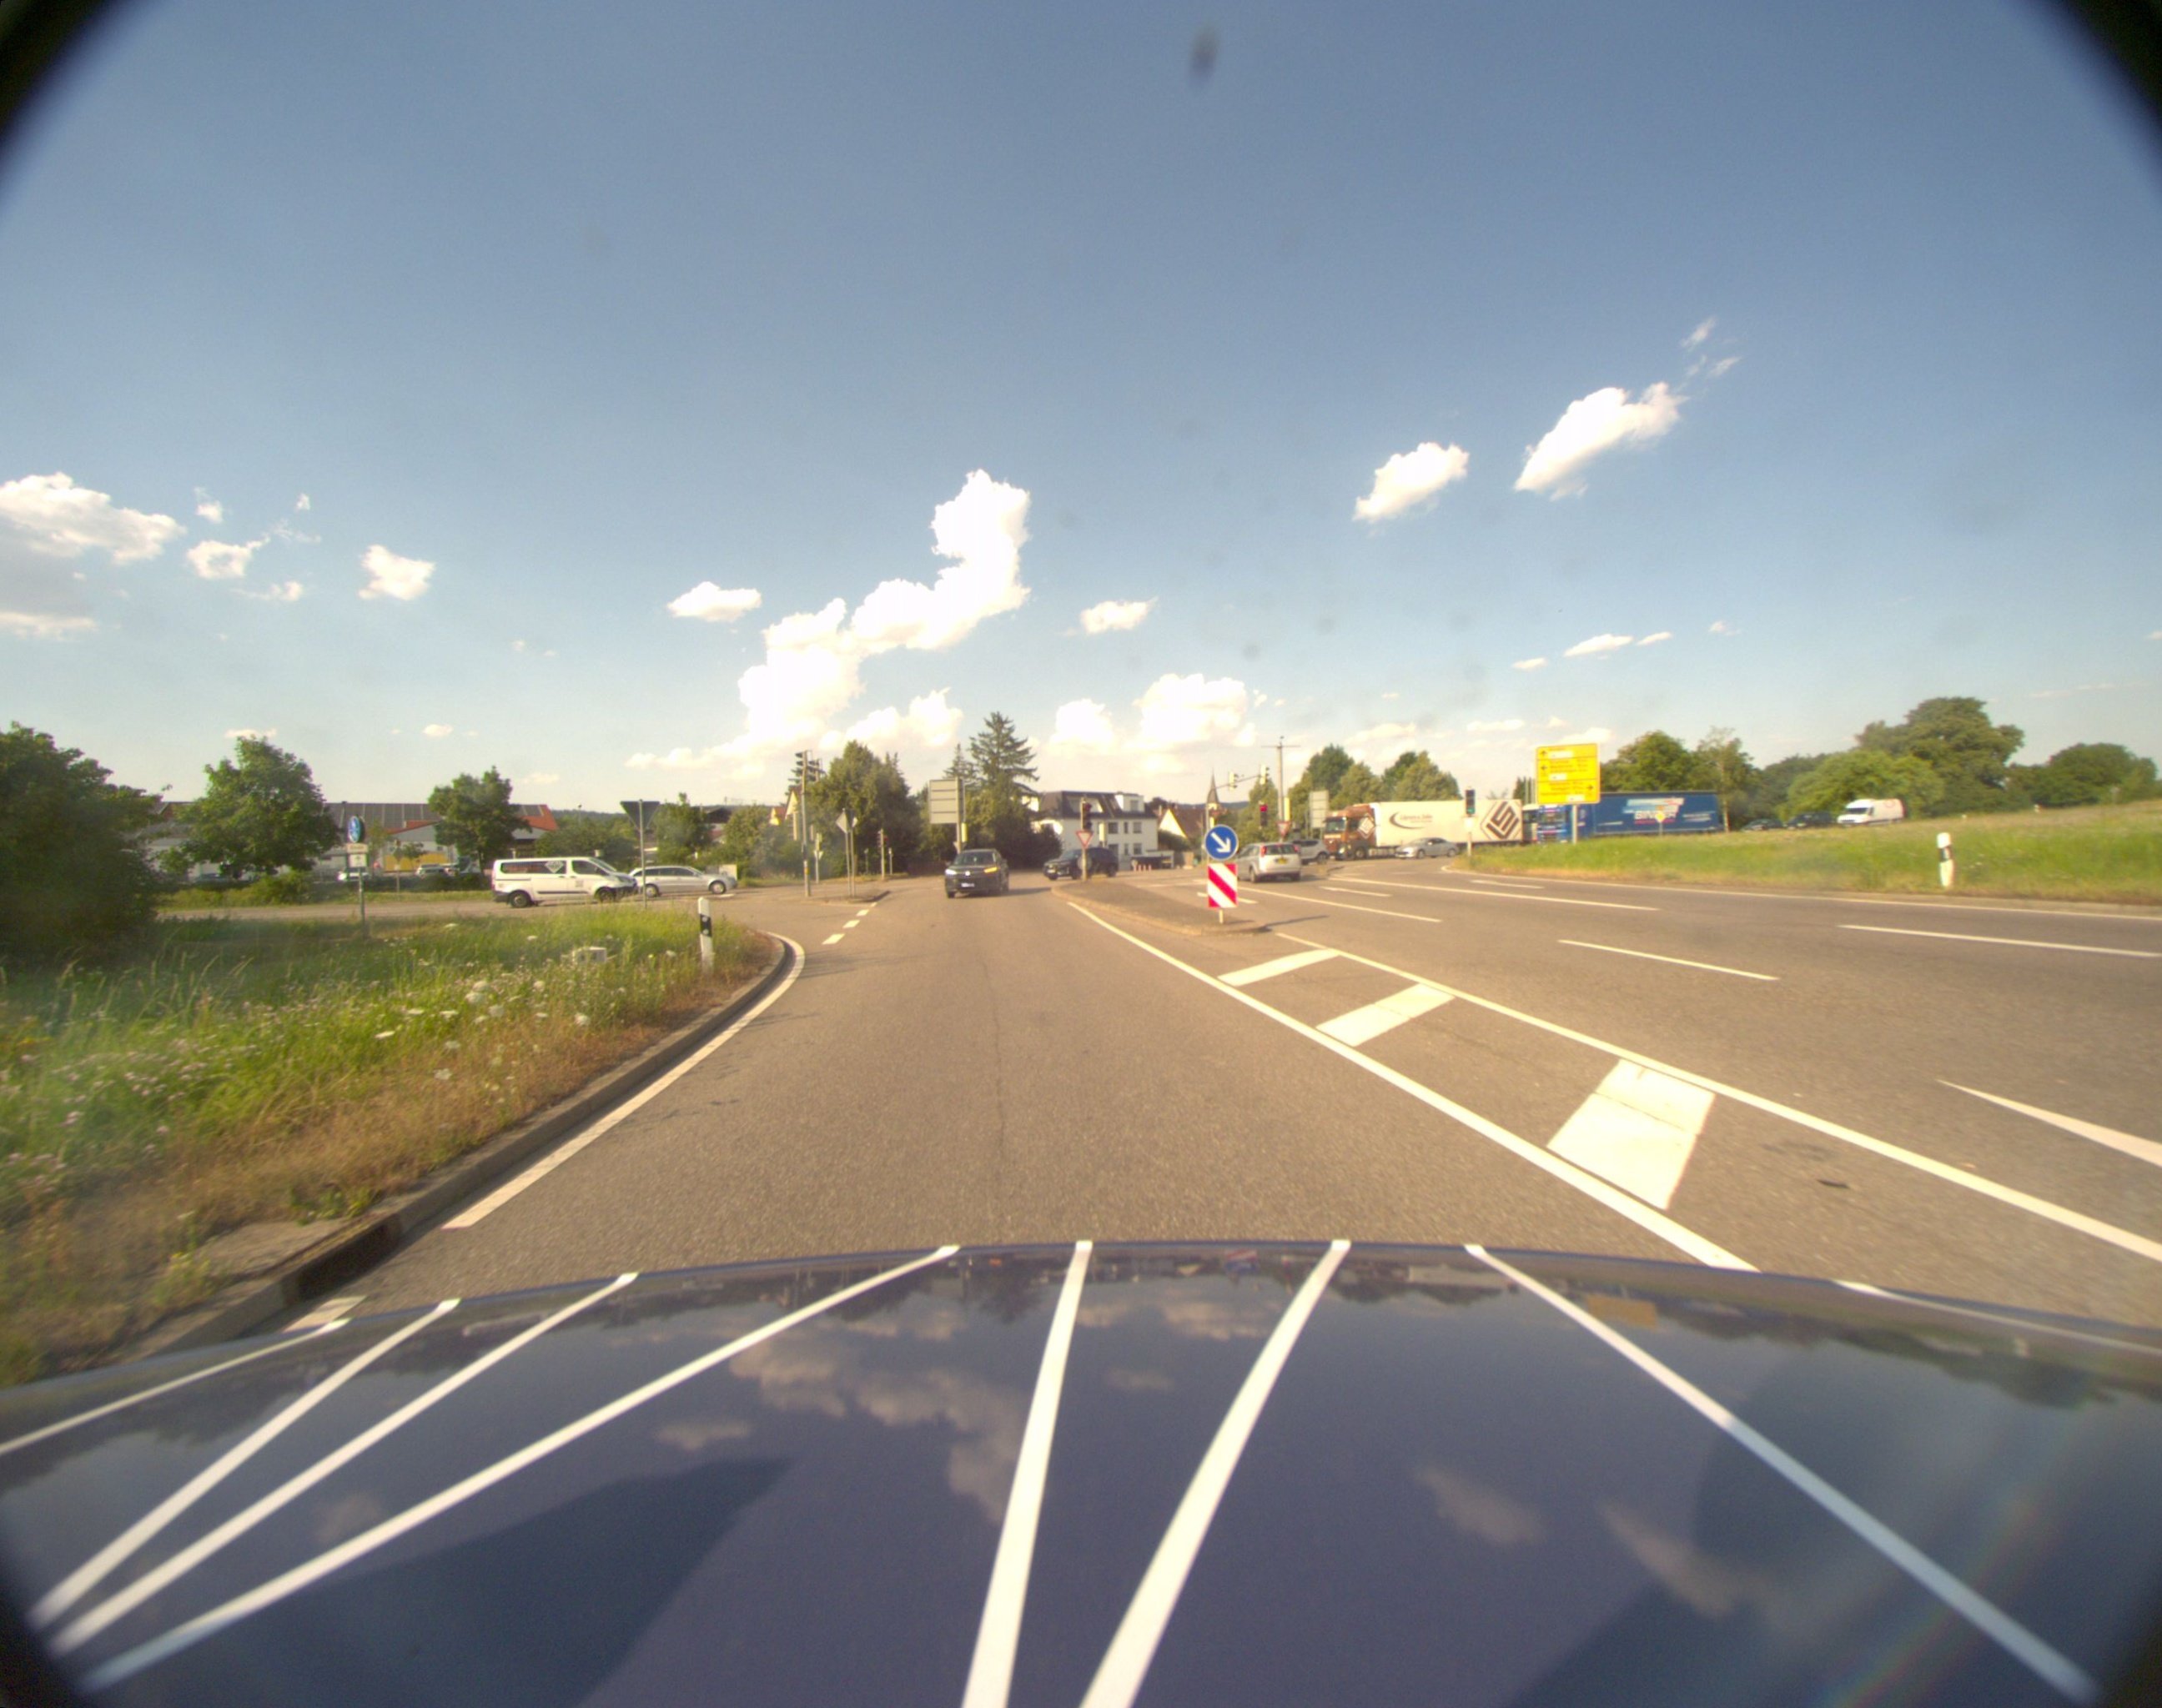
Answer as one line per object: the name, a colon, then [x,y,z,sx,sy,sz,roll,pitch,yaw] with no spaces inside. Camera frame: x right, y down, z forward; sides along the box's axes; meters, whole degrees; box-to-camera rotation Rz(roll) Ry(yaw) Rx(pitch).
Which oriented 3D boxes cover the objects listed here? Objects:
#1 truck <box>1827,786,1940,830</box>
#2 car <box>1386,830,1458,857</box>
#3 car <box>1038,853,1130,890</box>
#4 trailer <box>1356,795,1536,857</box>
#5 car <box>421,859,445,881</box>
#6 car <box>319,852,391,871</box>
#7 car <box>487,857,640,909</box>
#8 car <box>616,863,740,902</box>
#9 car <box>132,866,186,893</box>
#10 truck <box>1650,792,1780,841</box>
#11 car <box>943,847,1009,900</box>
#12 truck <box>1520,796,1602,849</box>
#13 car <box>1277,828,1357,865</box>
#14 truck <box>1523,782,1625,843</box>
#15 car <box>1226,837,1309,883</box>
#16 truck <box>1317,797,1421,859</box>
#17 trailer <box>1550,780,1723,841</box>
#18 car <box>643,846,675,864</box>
truck: [79.106,-4.540,74.845,12.908,3.752,2.527,-3,0,-19]
car: [22.668,-0.677,50.519,4.003,1.477,1.997,-4,0,-20]
car: [0.199,0.869,39.075,4.555,1.603,1.772,-3,0,-38]
trailer: [27.237,-2.137,56.366,14.347,4.043,2.536,-3,0,-20]
car: [-61.693,1.524,72.341,1.611,1.872,2.928,-3,0,-42]
car: [-68.654,0.655,71.891,1.846,1.525,4.802,-3,0,45]
car: [-20.993,1.147,31.084,4.823,1.936,1.903,-1,-1,-20]
car: [-19.051,1.304,36.195,4.957,1.505,1.860,-3,0,-20]
car: [-76.883,2.156,63.413,2.004,2.001,4.661,-3,-1,-40]
truck: [56.609,-3.407,67.708,12.908,3.752,2.527,-3,0,-19]
car: [-3.640,0.653,27.086,1.788,1.619,4.468,-3,0,-2]
truck: [37.635,-2.466,59.603,5.690,3.783,2.259,-3,0,-20]
car: [14.664,-0.462,47.196,4.375,1.936,1.905,-4,0,-20]
truck: [35.970,-3.004,55.488,5.606,3.981,3.371,-3,0,-20]
car: [7.037,0.289,29.197,1.819,1.519,4.353,-3,-2,-3]
truck: [20.455,-1.822,53.933,6.667,4.020,2.536,-3,0,-19]
trailer: [42.421,-3.357,57.927,13.760,3.981,3.414,-3,0,-20]
car: [-42.770,0.083,77.010,3.578,1.571,1.611,-3,0,40]
